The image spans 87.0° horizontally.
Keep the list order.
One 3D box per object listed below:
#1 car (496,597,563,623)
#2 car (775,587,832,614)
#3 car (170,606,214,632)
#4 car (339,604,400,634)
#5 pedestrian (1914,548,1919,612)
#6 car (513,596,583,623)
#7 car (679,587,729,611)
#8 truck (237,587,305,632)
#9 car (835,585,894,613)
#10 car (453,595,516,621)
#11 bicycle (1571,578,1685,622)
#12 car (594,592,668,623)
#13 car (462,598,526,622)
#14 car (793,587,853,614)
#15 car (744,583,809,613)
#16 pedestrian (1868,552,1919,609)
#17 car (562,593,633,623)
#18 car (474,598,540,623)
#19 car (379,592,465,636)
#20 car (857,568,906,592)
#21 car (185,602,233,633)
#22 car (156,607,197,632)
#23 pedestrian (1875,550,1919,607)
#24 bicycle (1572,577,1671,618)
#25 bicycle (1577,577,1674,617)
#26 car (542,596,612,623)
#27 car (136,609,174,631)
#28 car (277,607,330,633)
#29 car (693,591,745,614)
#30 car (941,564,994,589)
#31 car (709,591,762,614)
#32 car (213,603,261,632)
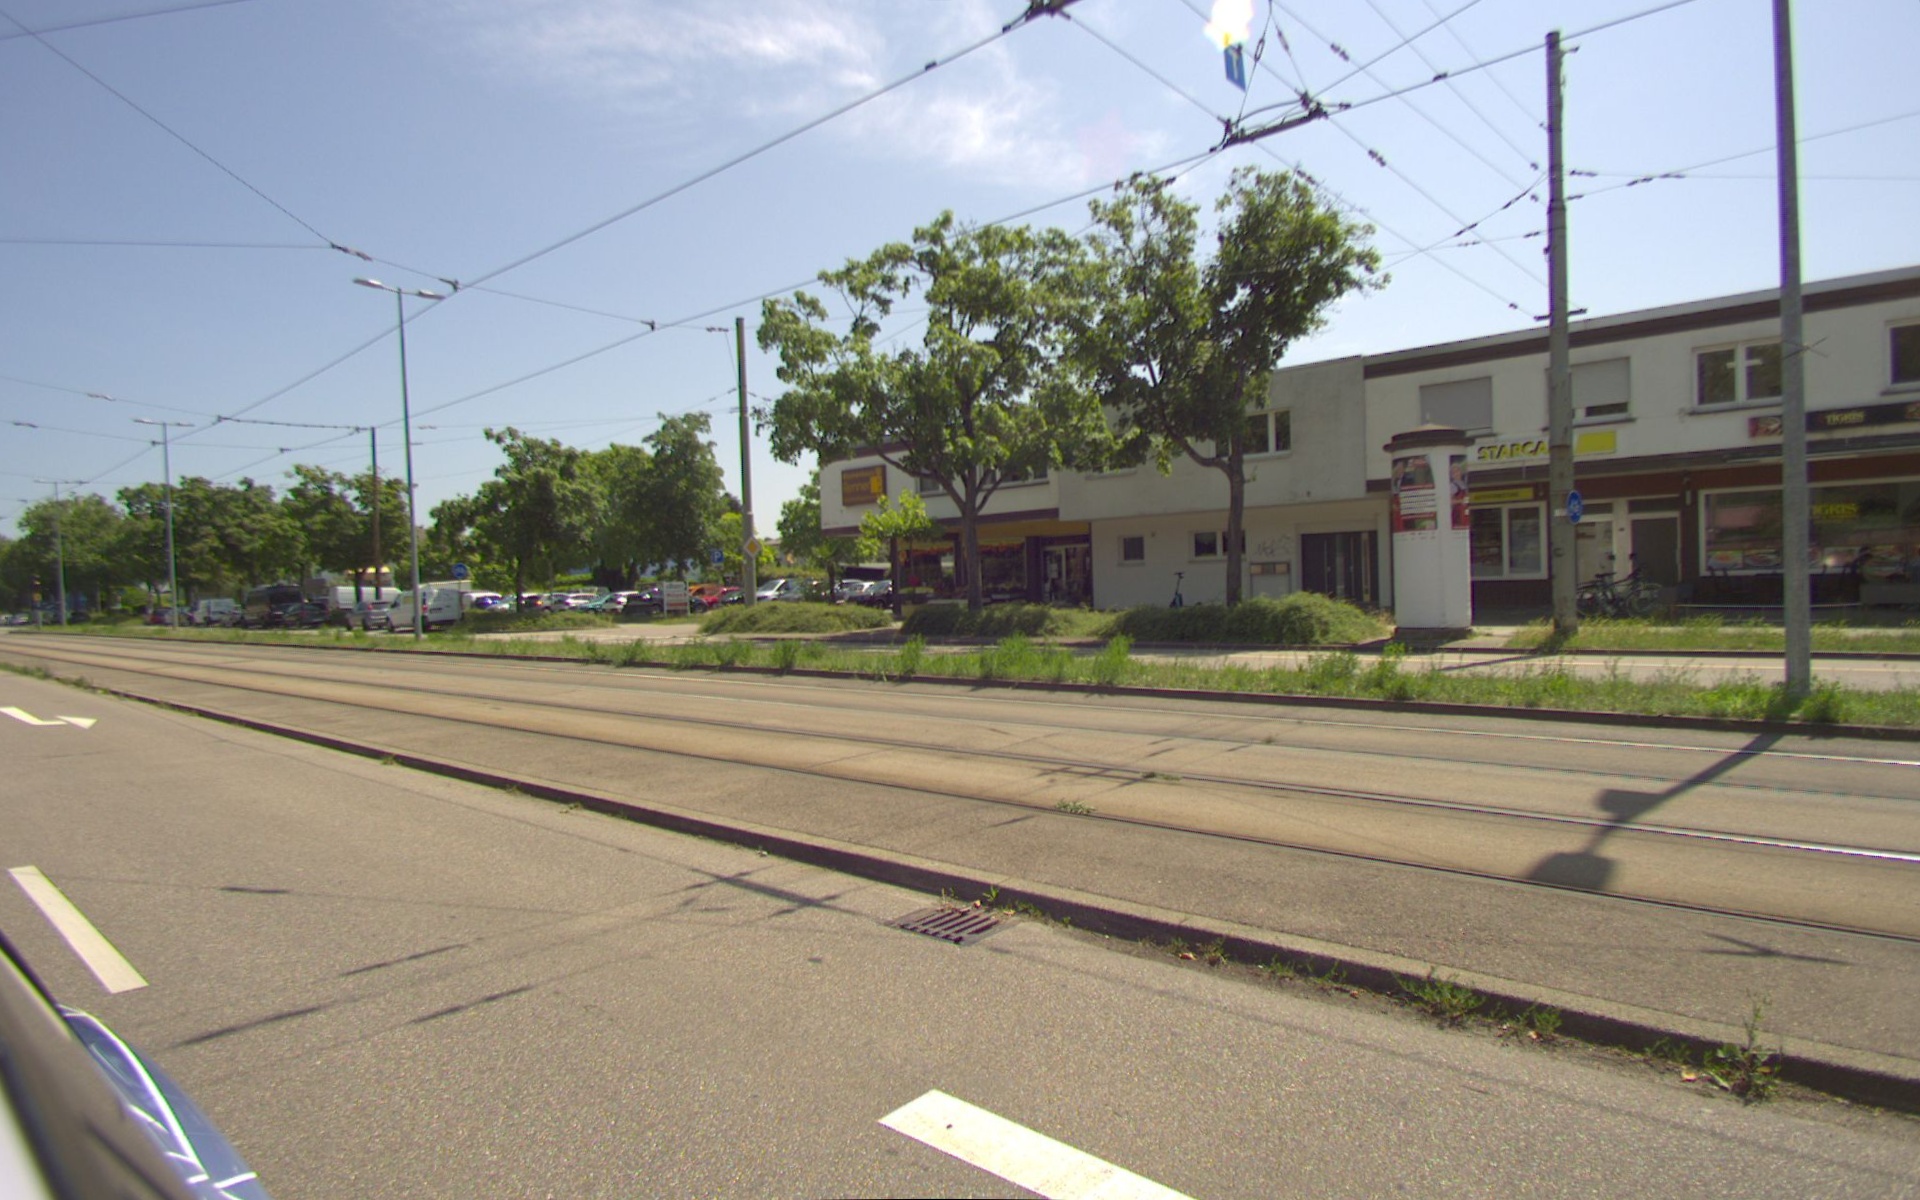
[{"bbox_3d":[-26.004,0.578,61.214,1.600,1.404,3.375,-1,1,35],"label":"car"},{"bbox_3d":[-9.910,0.022,64.126,1.532,1.548,3.450,-1,1,38],"label":"car"},{"bbox_3d":[-56.966,1.387,75.013,4.199,1.807,1.660,-1,1,40],"label":"car"},{"bbox_3d":[-29.867,0.963,51.171,3.568,1.397,1.653,-1,1,43],"label":"car"},{"bbox_3d":[19.253,-0.408,20.033,0.491,1.248,0.569,-1,1,40],"label":"pedestrian"},{"bbox_3d":[-23.946,0.554,58.891,1.600,1.404,3.375,-1,1,35],"label":"car"},{"bbox_3d":[-18.561,-0.083,73.470,1.504,1.573,3.315,-1,1,38],"label":"car"},{"bbox_3d":[-42.071,0.575,61.724,4.926,2.560,2.197,-1,1,41],"label":"truck"},{"bbox_3d":[-5.724,-0.048,61.094,1.622,1.548,3.450,-1,1,38],"label":"car"},{"bbox_3d":[-31.451,0.520,66.994,1.600,1.517,3.375,-1,1,35],"label":"car"},{"bbox_3d":[14.144,0.006,21.461,1.958,0.854,0.596,-1,3,41],"label":"bicycle"},{"bbox_3d":[-17.810,0.387,54.851,1.790,1.502,3.375,-1,1,35],"label":"car"},{"bbox_3d":[-29.836,0.627,64.854,1.600,1.404,3.375,-1,1,35],"label":"car"},{"bbox_3d":[-8.341,0.014,61.931,1.622,1.548,3.450,-1,1,38],"label":"car"},{"bbox_3d":[-11.872,-0.141,65.608,1.811,1.798,3.950,-1,1,38],"label":"car"},{"bbox_3d":[19.264,-0.403,20.847,0.810,1.136,0.558,-1,1,41],"label":"pedestrian"},{"bbox_3d":[-20.006,0.442,55.937,1.595,1.502,3.375,-1,1,35],"label":"car"},{"bbox_3d":[-27.991,0.626,62.586,1.600,1.404,3.375,-1,1,35],"label":"car"},{"bbox_3d":[-25.052,0.632,47.075,4.659,1.897,1.973,-1,1,41],"label":"car"},{"bbox_3d":[-6.765,-1.742,87.679,2.000,2.029,3.944,-1,1,42],"label":"car"},{"bbox_3d":[-52.596,1.232,70.887,4.506,1.989,1.660,-1,1,40],"label":"car"},{"bbox_3d":[-60.282,1.523,77.853,4.199,1.807,1.660,-2,0,40],"label":"car"},{"bbox_3d":[19.796,-0.449,21.354,0.674,1.172,0.512,-1,1,41],"label":"pedestrian"},{"bbox_3d":[14.738,-0.050,22.571,1.786,0.854,0.523,-1,3,41],"label":"bicycle"},{"bbox_3d":[15.105,-0.059,23.004,1.786,0.854,0.523,-1,3,41],"label":"bicycle"},{"bbox_3d":[-21.871,0.527,57.851,1.600,1.404,3.375,-1,1,35],"label":"car"},{"bbox_3d":[-65.307,1.640,82.051,3.820,1.716,1.660,-1,1,40],"label":"car"},{"bbox_3d":[-37.472,1.135,57.767,3.669,1.397,1.653,-1,1,43],"label":"car"},{"bbox_3d":[-16.988,0.156,71.433,1.504,1.469,3.315,-1,1,38],"label":"car"},{"bbox_3d":[0.595,-1.813,78.556,2.000,1.785,3.944,-1,1,42],"label":"car"},{"bbox_3d":[-15.415,0.171,69.557,1.504,1.400,3.315,-1,1,38],"label":"car"},{"bbox_3d":[-48.235,1.171,67.509,3.866,1.807,1.660,-1,1,40],"label":"car"}]
